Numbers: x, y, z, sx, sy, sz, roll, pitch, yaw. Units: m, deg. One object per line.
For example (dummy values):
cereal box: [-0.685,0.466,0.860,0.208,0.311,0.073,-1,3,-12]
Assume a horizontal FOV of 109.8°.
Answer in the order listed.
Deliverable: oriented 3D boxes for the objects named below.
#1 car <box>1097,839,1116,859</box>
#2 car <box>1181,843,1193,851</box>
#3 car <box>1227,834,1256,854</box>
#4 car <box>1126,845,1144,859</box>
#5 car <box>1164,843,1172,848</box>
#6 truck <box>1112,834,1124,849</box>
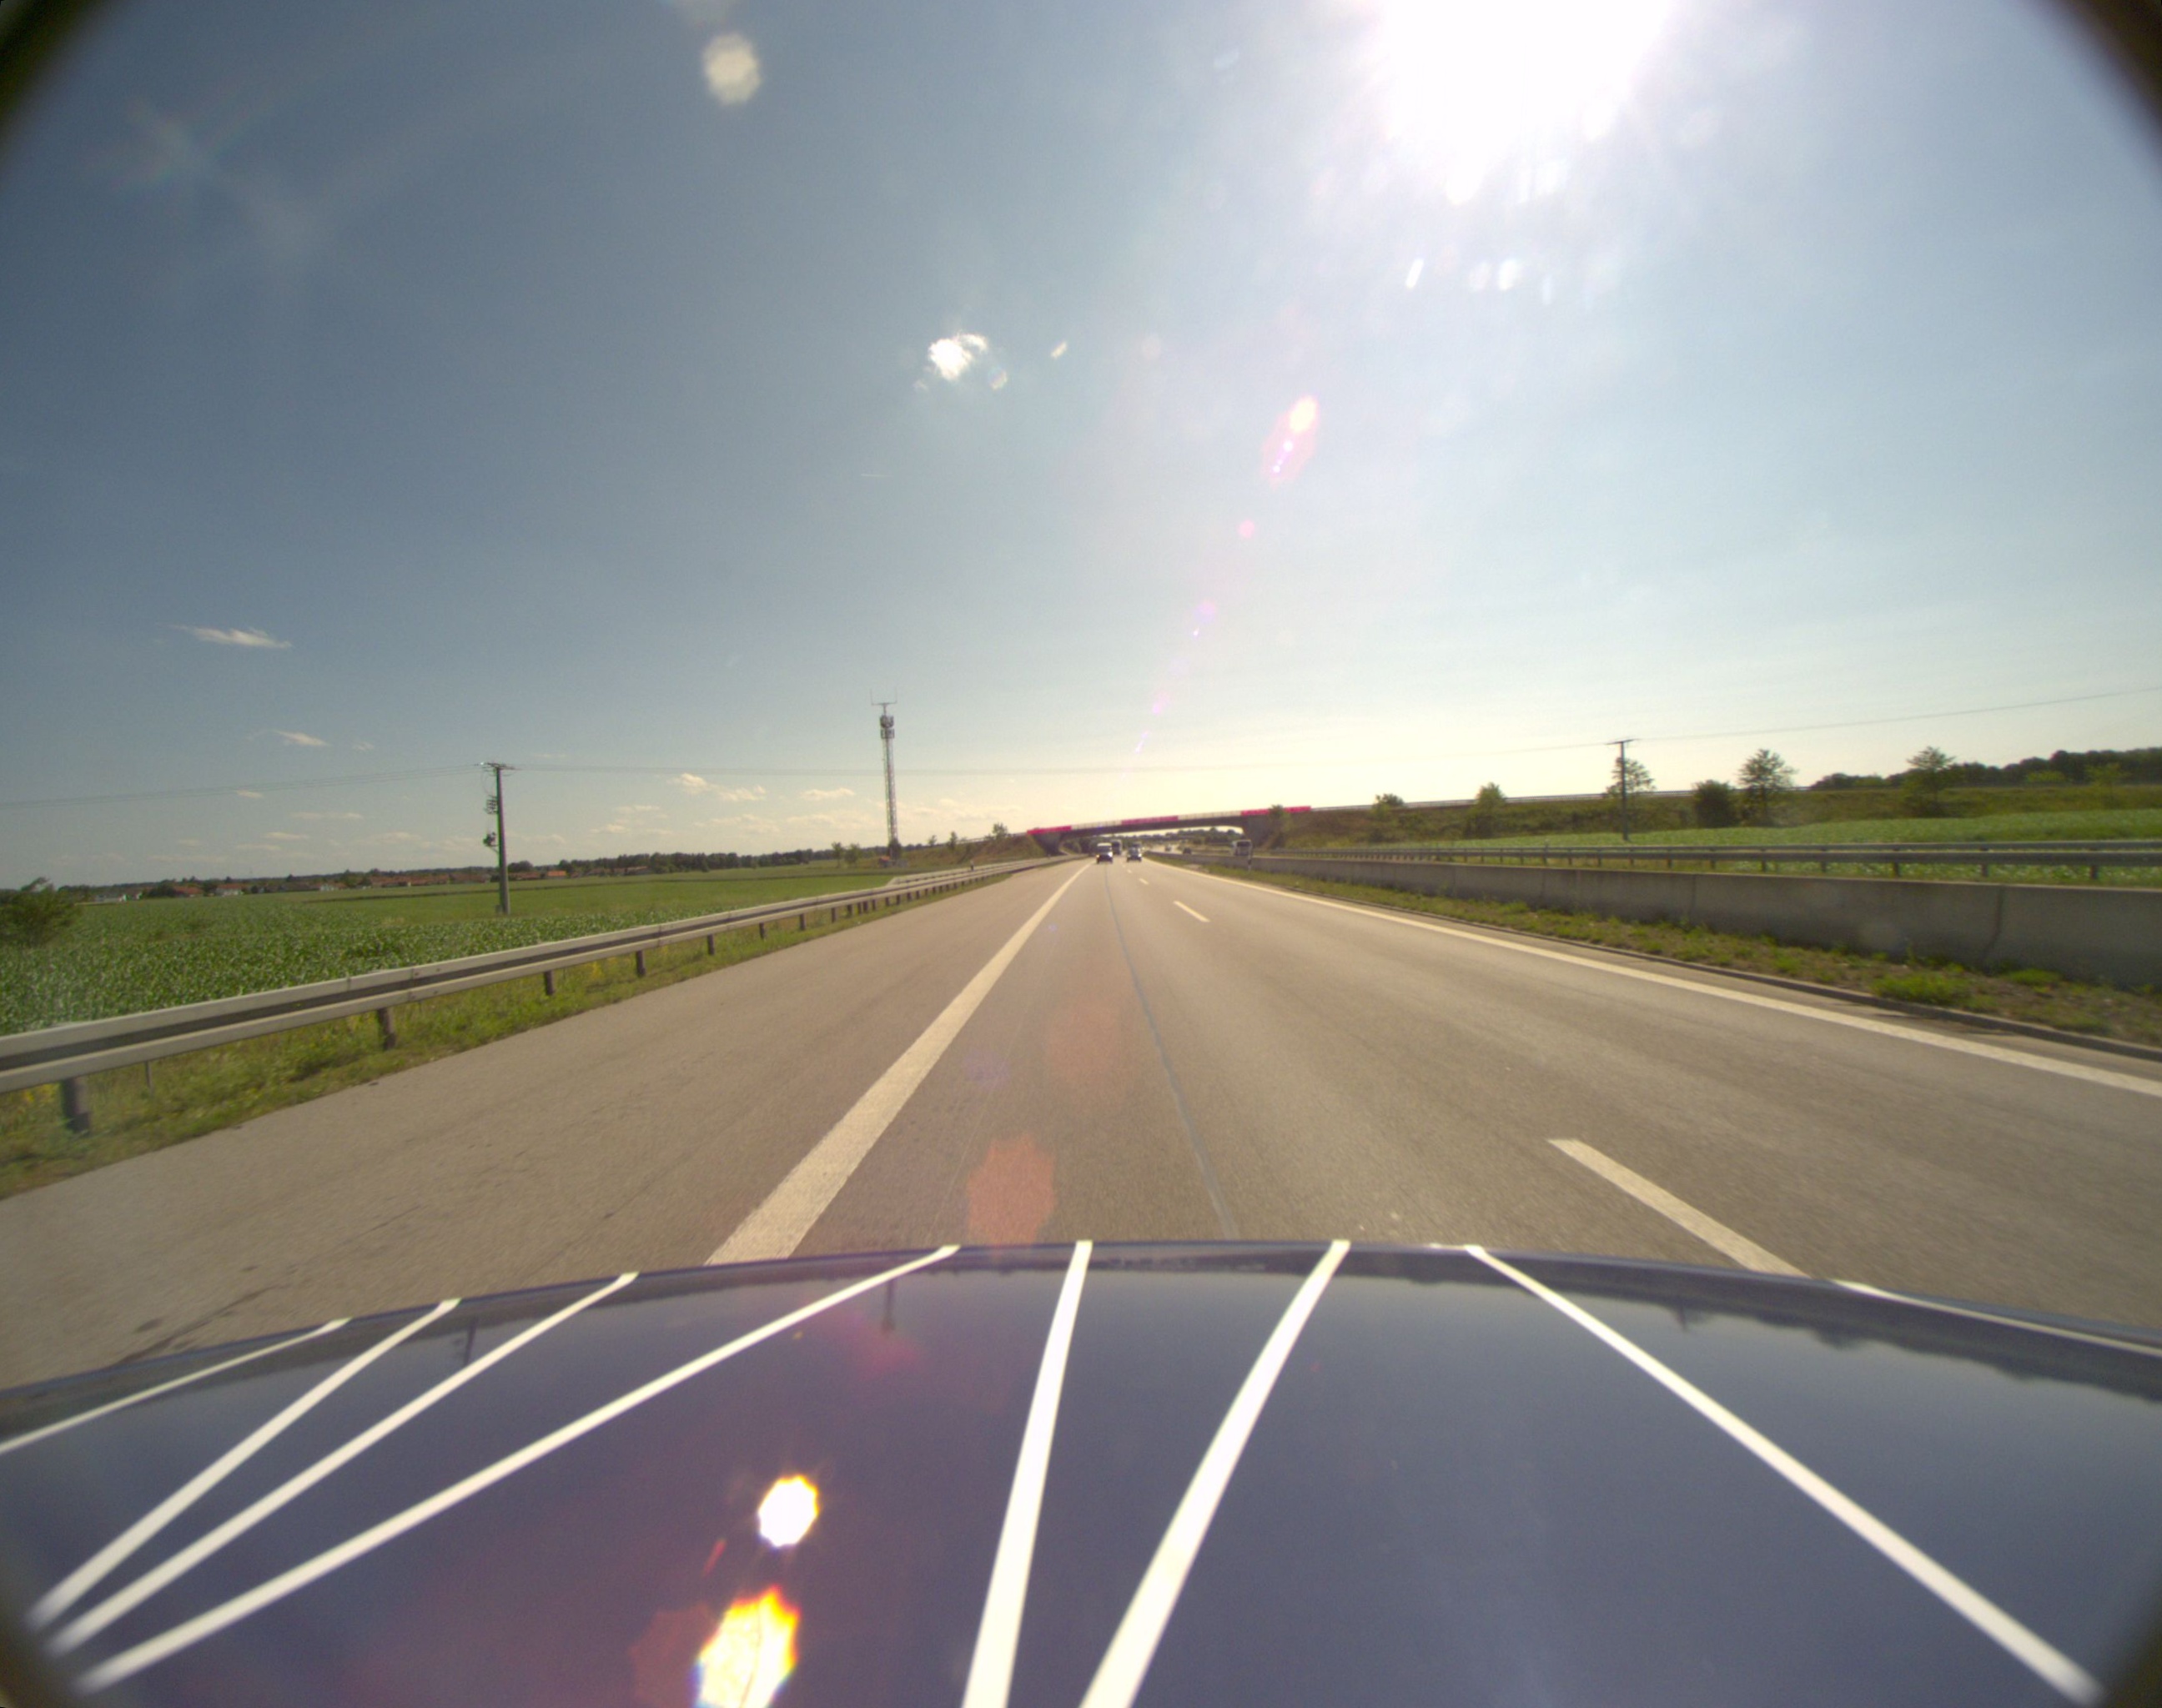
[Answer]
car: [3.048,-0.584,90.502,2.030,2.225,4.818,-2,1,2]
car: [20.985,-1.374,151.063,1.864,1.505,4.586,-4,1,3]
car: [17.233,-1.049,81.898,1.998,2.002,5.613,-2,1,1]
car: [6.748,-0.261,96.124,2.030,1.600,4.818,-2,1,2]
car: [27.705,-2.668,241.854,1.998,1.570,4.896,-4,1,3]
truck: [9.433,-3.190,196.008,2.762,3.793,7.517,-3,1,2]
